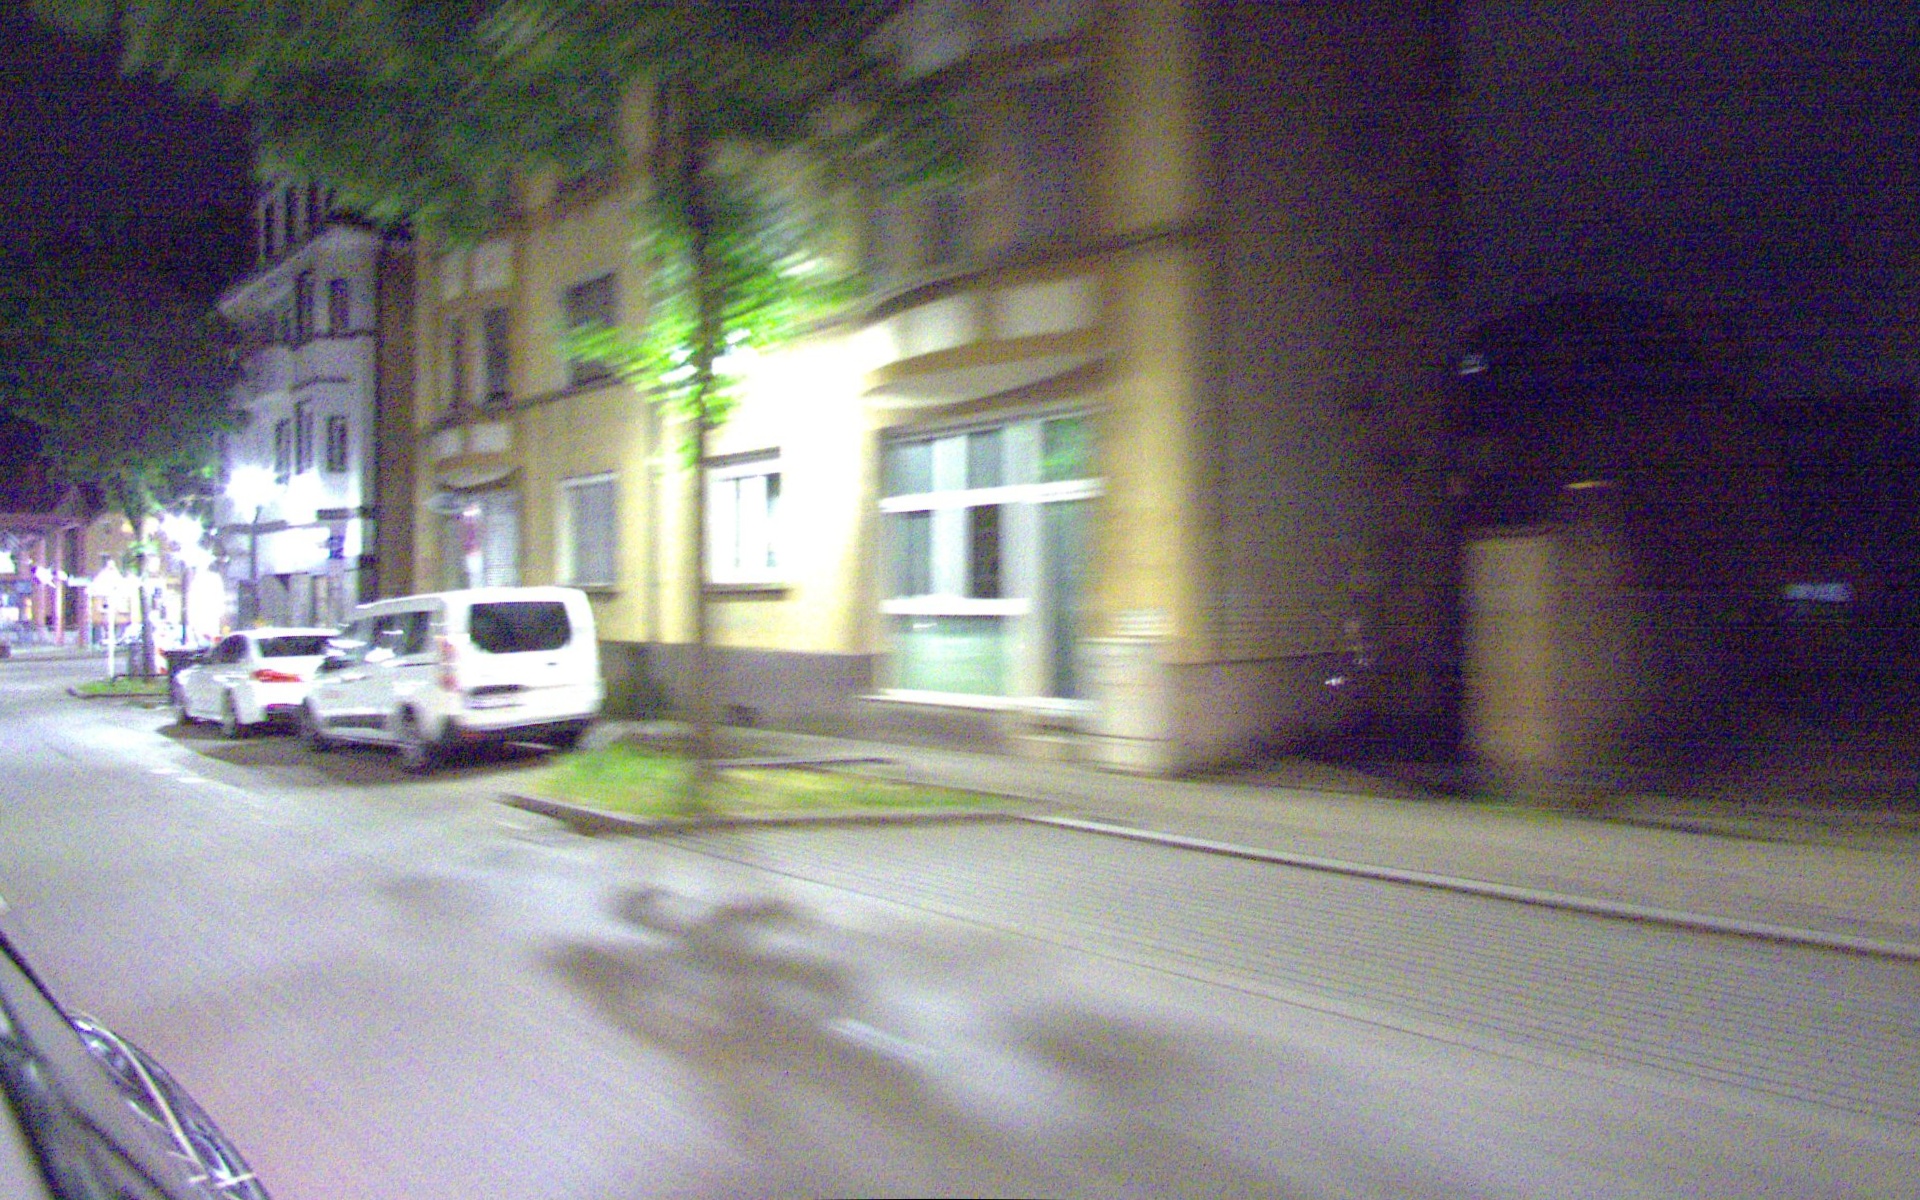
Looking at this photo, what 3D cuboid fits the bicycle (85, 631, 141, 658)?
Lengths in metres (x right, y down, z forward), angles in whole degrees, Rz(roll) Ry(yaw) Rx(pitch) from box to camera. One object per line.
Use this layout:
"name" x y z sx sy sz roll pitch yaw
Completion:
"bicycle" -37.148 1.953 44.389 1.760 1.160 0.761 0 -1 -7

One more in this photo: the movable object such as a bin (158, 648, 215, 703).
"movable object such as a bin" -15.697 1.530 20.555 0.617 1.057 0.689 -1 1 0

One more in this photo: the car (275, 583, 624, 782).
"car" -6.045 0.808 11.698 4.811 1.857 1.864 -1 -1 40

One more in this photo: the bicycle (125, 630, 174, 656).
"bicycle" -37.354 1.973 46.645 1.752 1.160 0.582 0 -1 -1

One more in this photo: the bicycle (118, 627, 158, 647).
"bicycle" -49.767 2.246 61.309 0.648 1.136 1.783 -1 -1 33

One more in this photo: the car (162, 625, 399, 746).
"car" -10.353 1.156 15.249 4.880 1.461 1.819 -1 0 42

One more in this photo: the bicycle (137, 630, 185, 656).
"bicycle" -37.379 2.007 47.342 1.752 1.160 0.582 0 -1 -1

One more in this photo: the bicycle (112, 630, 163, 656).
"bicycle" -37.344 1.962 45.972 1.750 1.160 0.583 0 -1 -7

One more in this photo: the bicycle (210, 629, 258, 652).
"bicycle" -36.699 2.041 51.194 1.841 1.143 0.726 0 -1 -7

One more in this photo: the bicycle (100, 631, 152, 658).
"bicycle" -37.251 1.971 45.209 1.750 1.160 0.615 0 -1 -7
